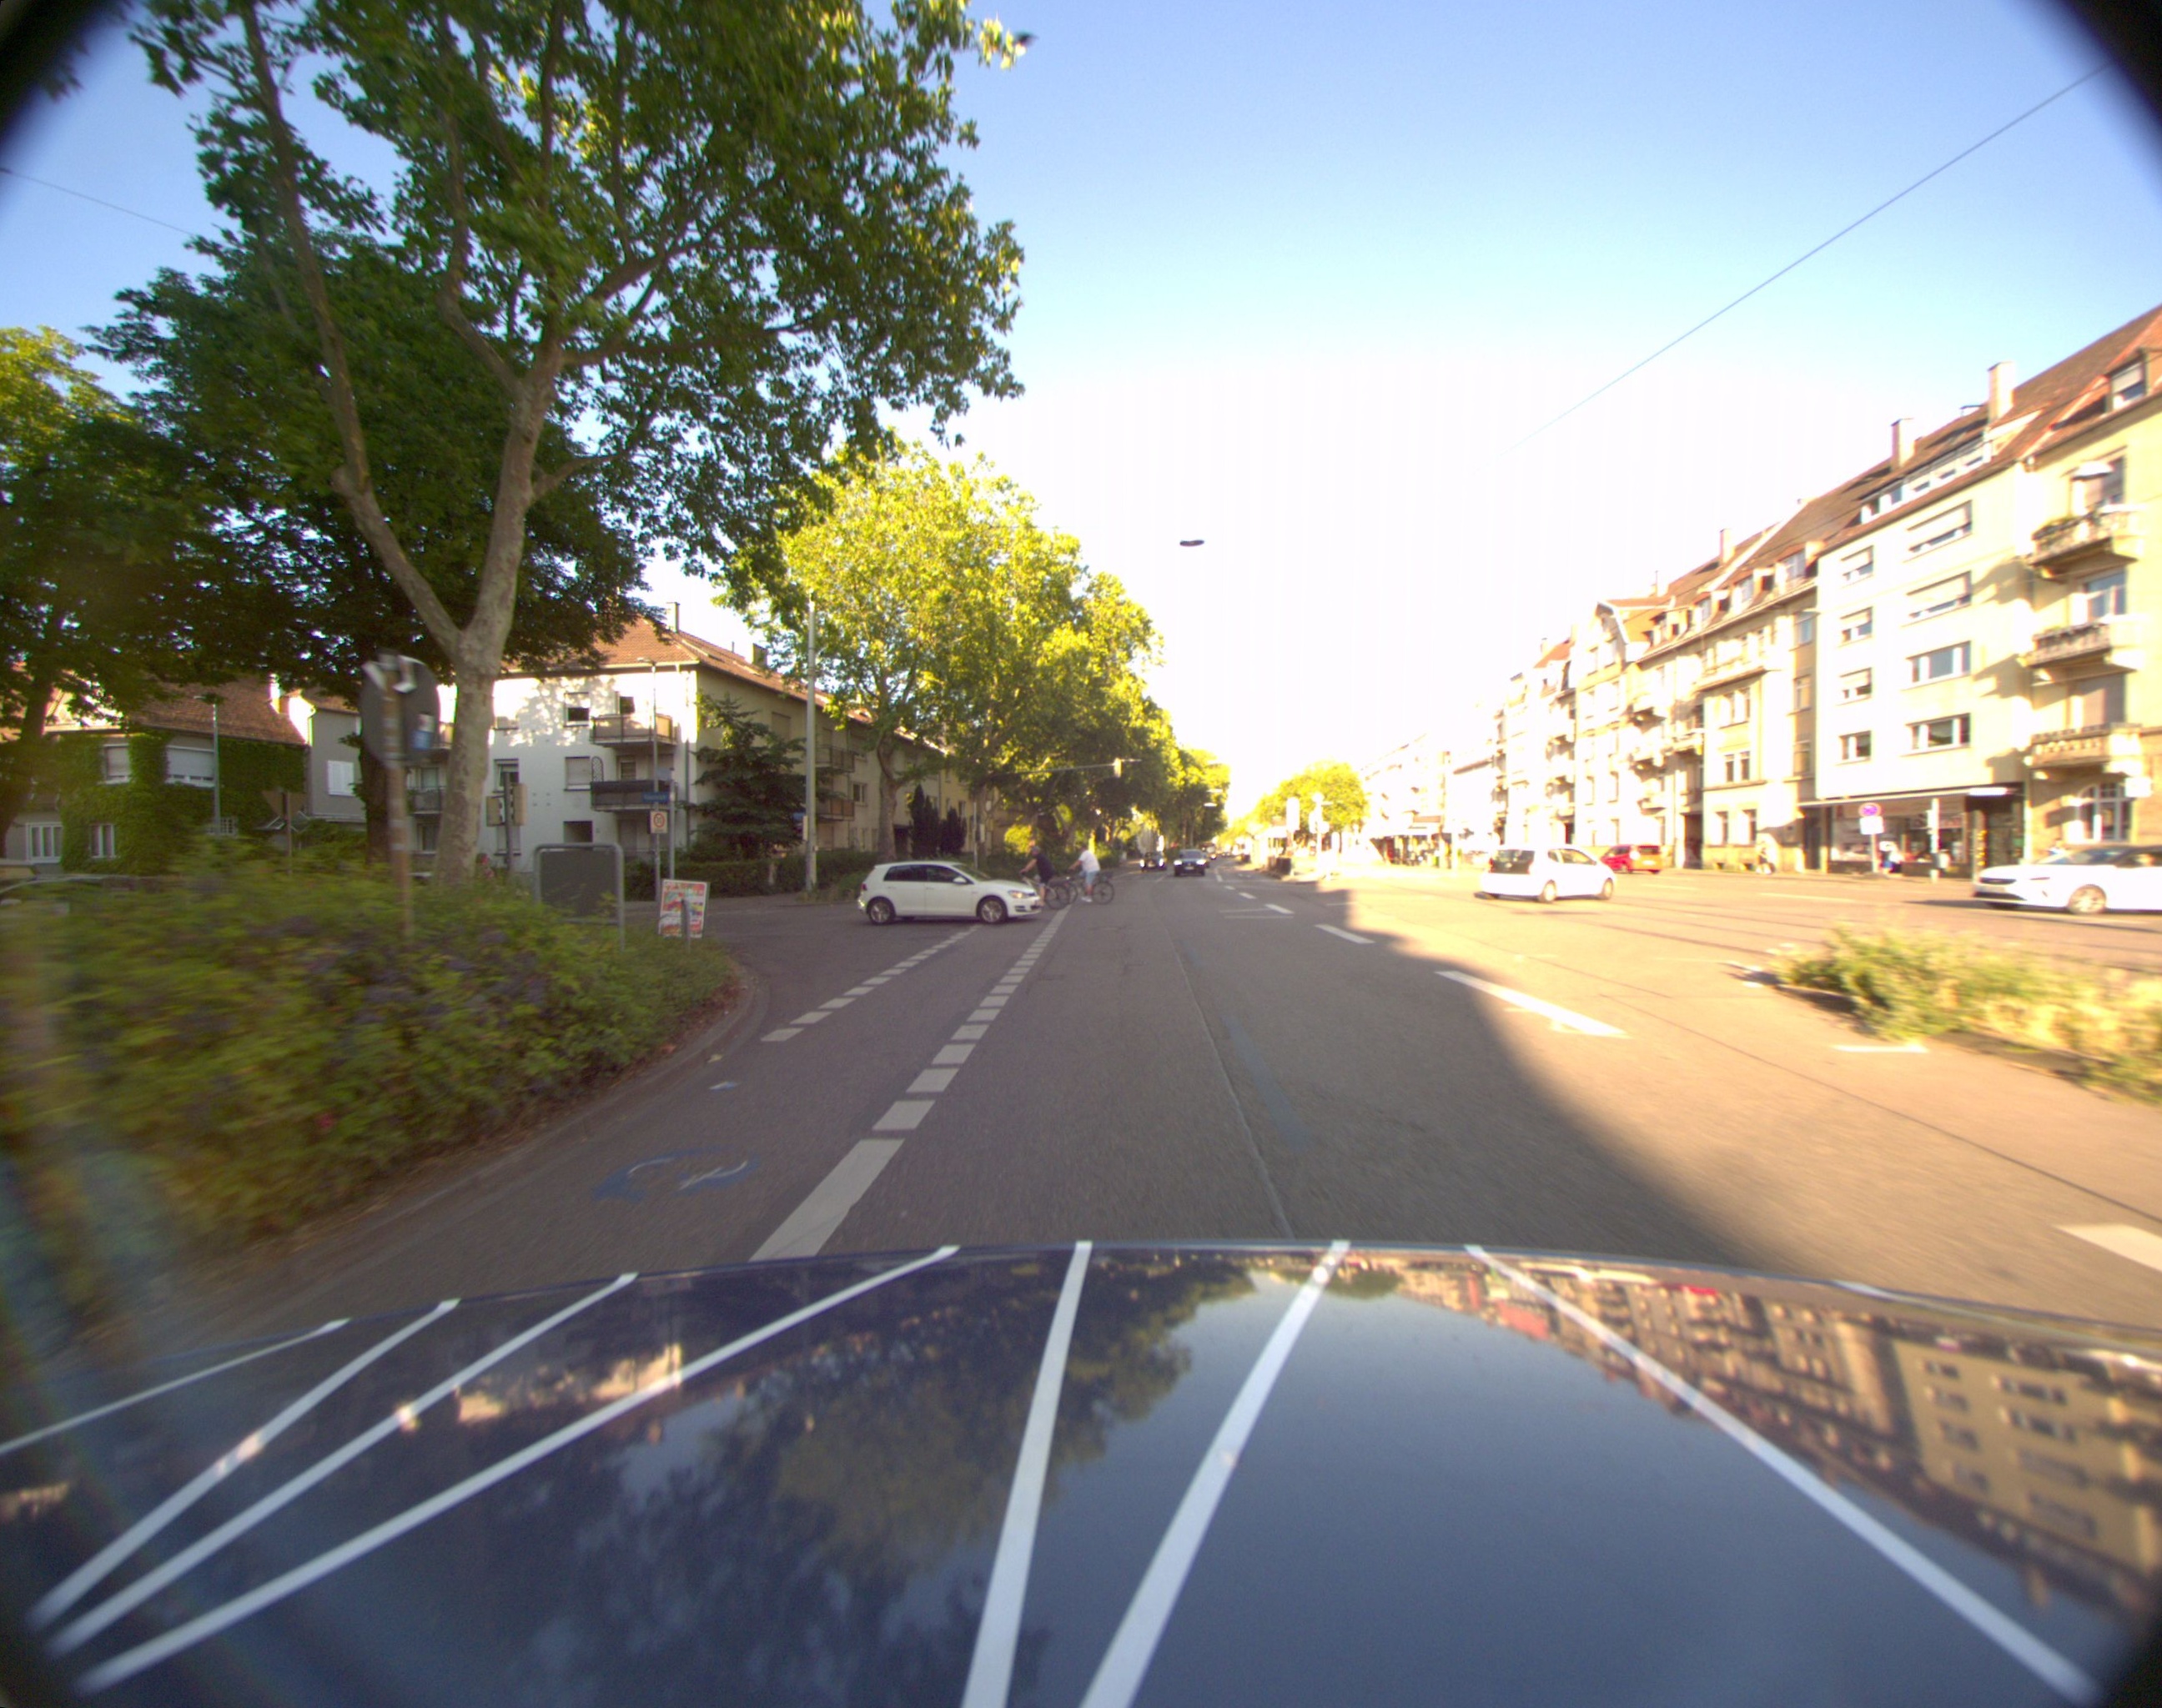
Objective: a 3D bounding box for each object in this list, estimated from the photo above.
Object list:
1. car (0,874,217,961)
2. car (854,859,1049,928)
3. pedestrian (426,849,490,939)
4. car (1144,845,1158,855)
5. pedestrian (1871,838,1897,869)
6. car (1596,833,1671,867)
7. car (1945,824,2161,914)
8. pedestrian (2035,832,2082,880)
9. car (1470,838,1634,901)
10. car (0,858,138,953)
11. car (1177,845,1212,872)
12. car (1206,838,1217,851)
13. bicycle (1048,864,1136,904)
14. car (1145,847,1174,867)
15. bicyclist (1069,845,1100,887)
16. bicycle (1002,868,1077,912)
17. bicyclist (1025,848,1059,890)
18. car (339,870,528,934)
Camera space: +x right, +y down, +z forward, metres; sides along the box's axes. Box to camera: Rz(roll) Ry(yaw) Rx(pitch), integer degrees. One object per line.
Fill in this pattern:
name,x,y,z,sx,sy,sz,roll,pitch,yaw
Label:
car,-21.275,1.277,15.799,1.681,1.566,4.052,-1,0,10
car,-2.973,0.886,17.887,4.104,1.442,1.845,-1,2,11
pedestrian,-12.828,0.797,15.663,0.665,1.796,0.703,0,2,17
car,11.573,-0.702,125.428,1.876,1.587,4.002,-1,1,9
pedestrian,35.057,-0.027,33.157,0.553,1.355,0.556,-1,1,9
car,32.463,-0.270,44.796,1.918,1.889,4.312,-1,2,10
car,20.688,0.272,15.324,3.993,1.696,1.837,-1,2,12
pedestrian,33.966,0.071,26.422,0.629,1.631,0.770,-1,1,7
car,12.071,0.343,19.467,3.819,1.471,1.734,-1,1,-25
car,-24.063,1.113,16.331,1.756,1.973,4.439,2,1,11
car,7.075,0.264,47.091,1.876,1.587,4.003,-1,1,13
car,22.860,-1.664,133.219,1.876,2.279,4.002,-1,1,9
bicycle,0.336,0.908,22.846,2.548,1.099,0.653,-2,2,12
car,6.430,0.219,62.098,1.876,1.587,4.003,-1,1,13
bicyclist,0.110,0.347,22.799,0.766,1.229,0.661,0,2,12
bicycle,-1.140,1.005,21.119,1.921,1.099,0.653,-2,2,12
bicyclist,-1.081,0.409,21.082,0.766,1.151,0.612,0,2,12
car,-17.179,1.223,20.212,4.048,1.517,1.783,0,2,15
